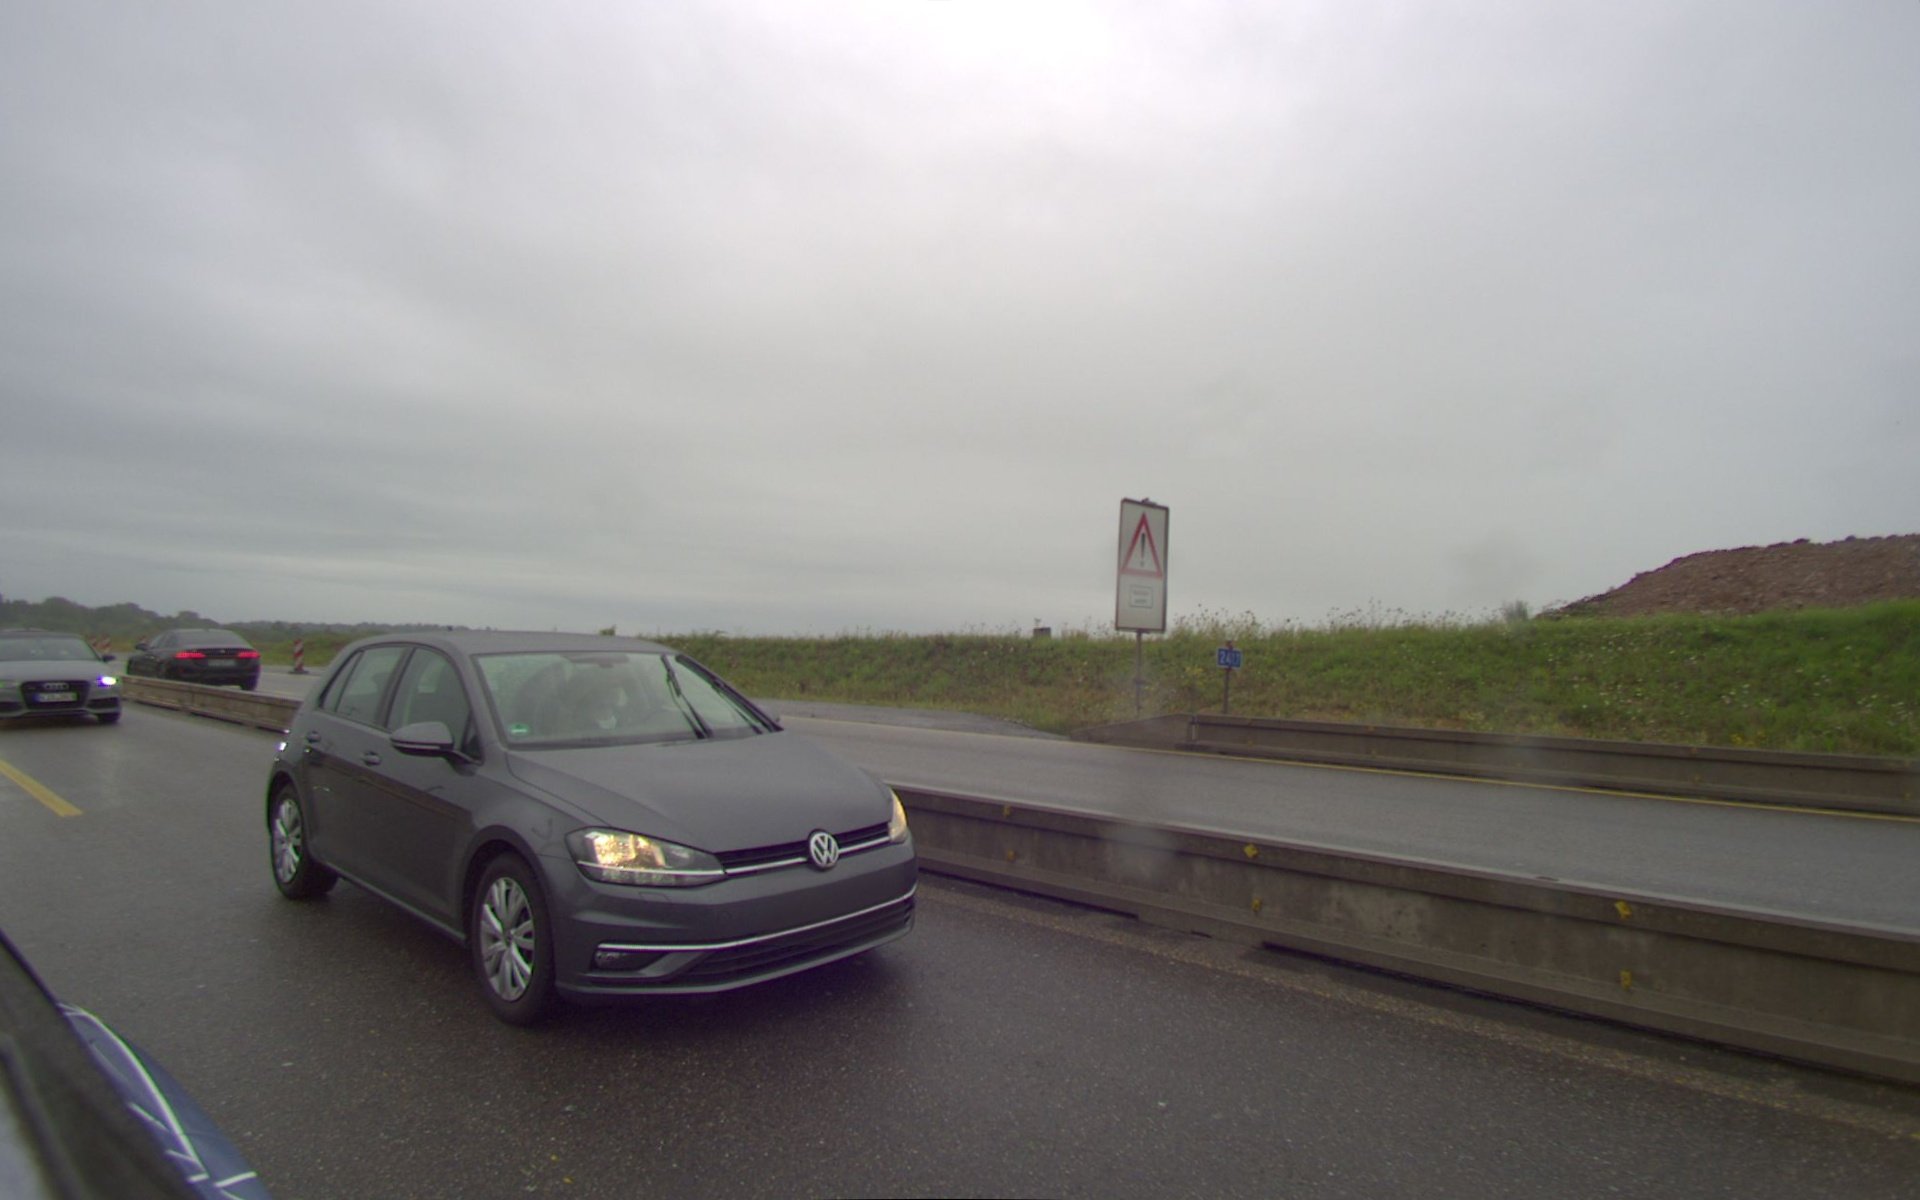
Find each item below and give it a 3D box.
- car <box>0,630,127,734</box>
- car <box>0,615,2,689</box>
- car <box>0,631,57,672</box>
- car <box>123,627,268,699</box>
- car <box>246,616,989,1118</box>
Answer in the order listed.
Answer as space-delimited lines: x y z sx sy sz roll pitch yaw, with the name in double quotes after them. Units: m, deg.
-14.852 1.209 16.079 4.266 1.407 1.777 0 -1 40 "car"
-26.880 1.330 26.555 5.178 1.873 2.132 -1 -1 42 "car"
-35.855 1.930 38.576 3.729 1.477 1.648 -2 -2 41 "car"
-19.064 1.490 25.153 4.892 1.597 1.898 -2 -2 41 "car"
-1.938 0.809 4.921 4.080 1.433 1.632 -1 -2 42 "car"
